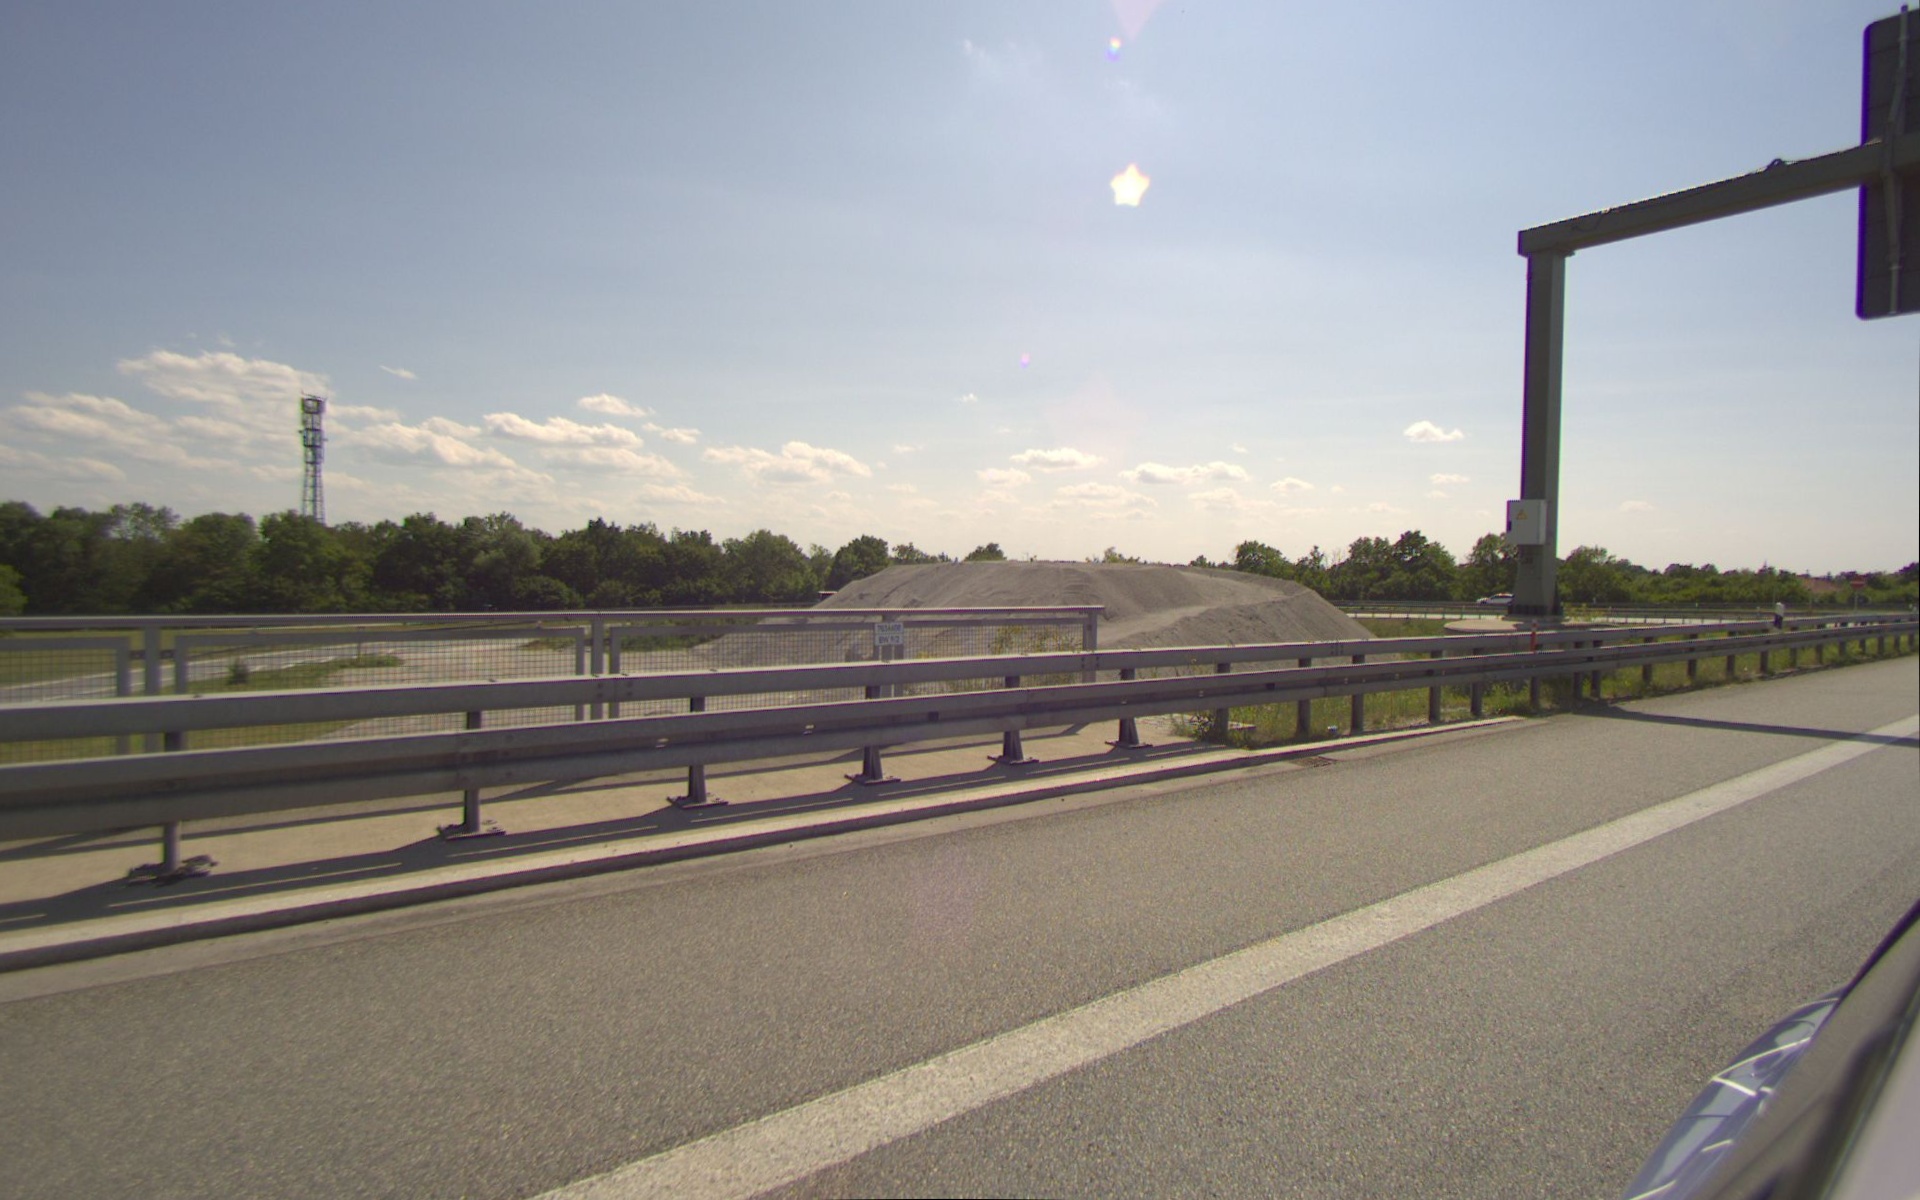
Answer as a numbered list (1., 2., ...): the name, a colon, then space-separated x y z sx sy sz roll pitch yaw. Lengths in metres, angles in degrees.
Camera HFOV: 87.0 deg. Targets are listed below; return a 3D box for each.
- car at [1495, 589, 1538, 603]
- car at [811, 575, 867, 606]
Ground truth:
1. car: 64.997 -0.436 118.210 4.267 1.527 1.977 -1 0 33
2. car: -15.832 -1.256 132.750 6.936 3.676 2.002 -2 -2 -27
